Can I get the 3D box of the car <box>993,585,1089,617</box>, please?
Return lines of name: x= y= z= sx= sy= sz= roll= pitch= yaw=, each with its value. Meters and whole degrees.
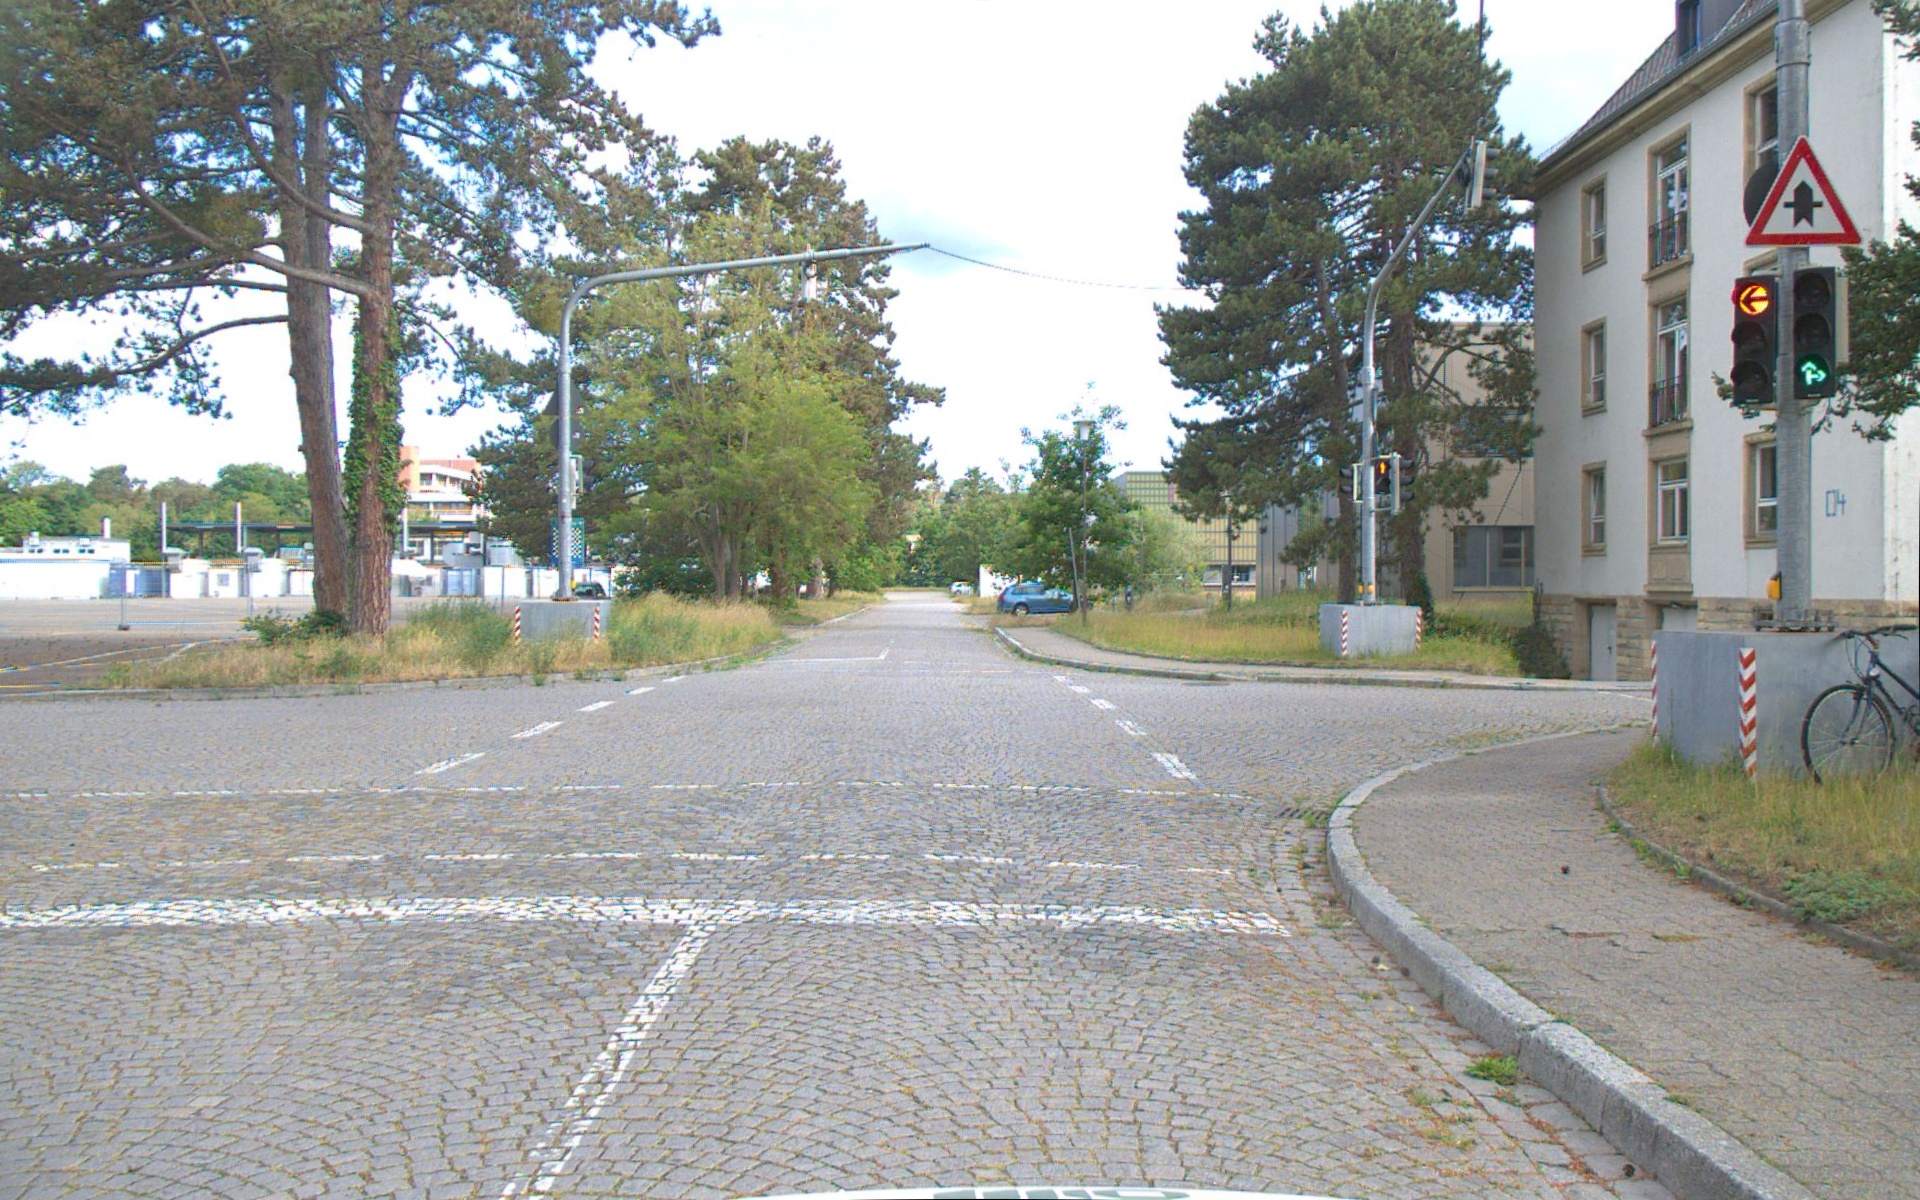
car: x=3.705 y=0.041 z=76.307 sx=4.258 sy=1.447 sz=1.999 roll=0 pitch=1 yaw=-4

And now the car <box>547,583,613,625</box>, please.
car: x=-13.967 y=0.118 z=60.958 sx=1.580 sy=1.513 sz=3.999 roll=0 pitch=1 yaw=-1

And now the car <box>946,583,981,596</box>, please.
car: x=0.445 y=-1.215 z=193.315 sx=3.911 sy=1.422 sz=1.997 roll=0 pitch=1 yaw=-7

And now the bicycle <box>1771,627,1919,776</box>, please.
bicycle: x=6.070 y=0.622 z=10.411 sx=1.665 sy=0.889 sz=0.573 roll=0 pitch=0 yaw=-1
